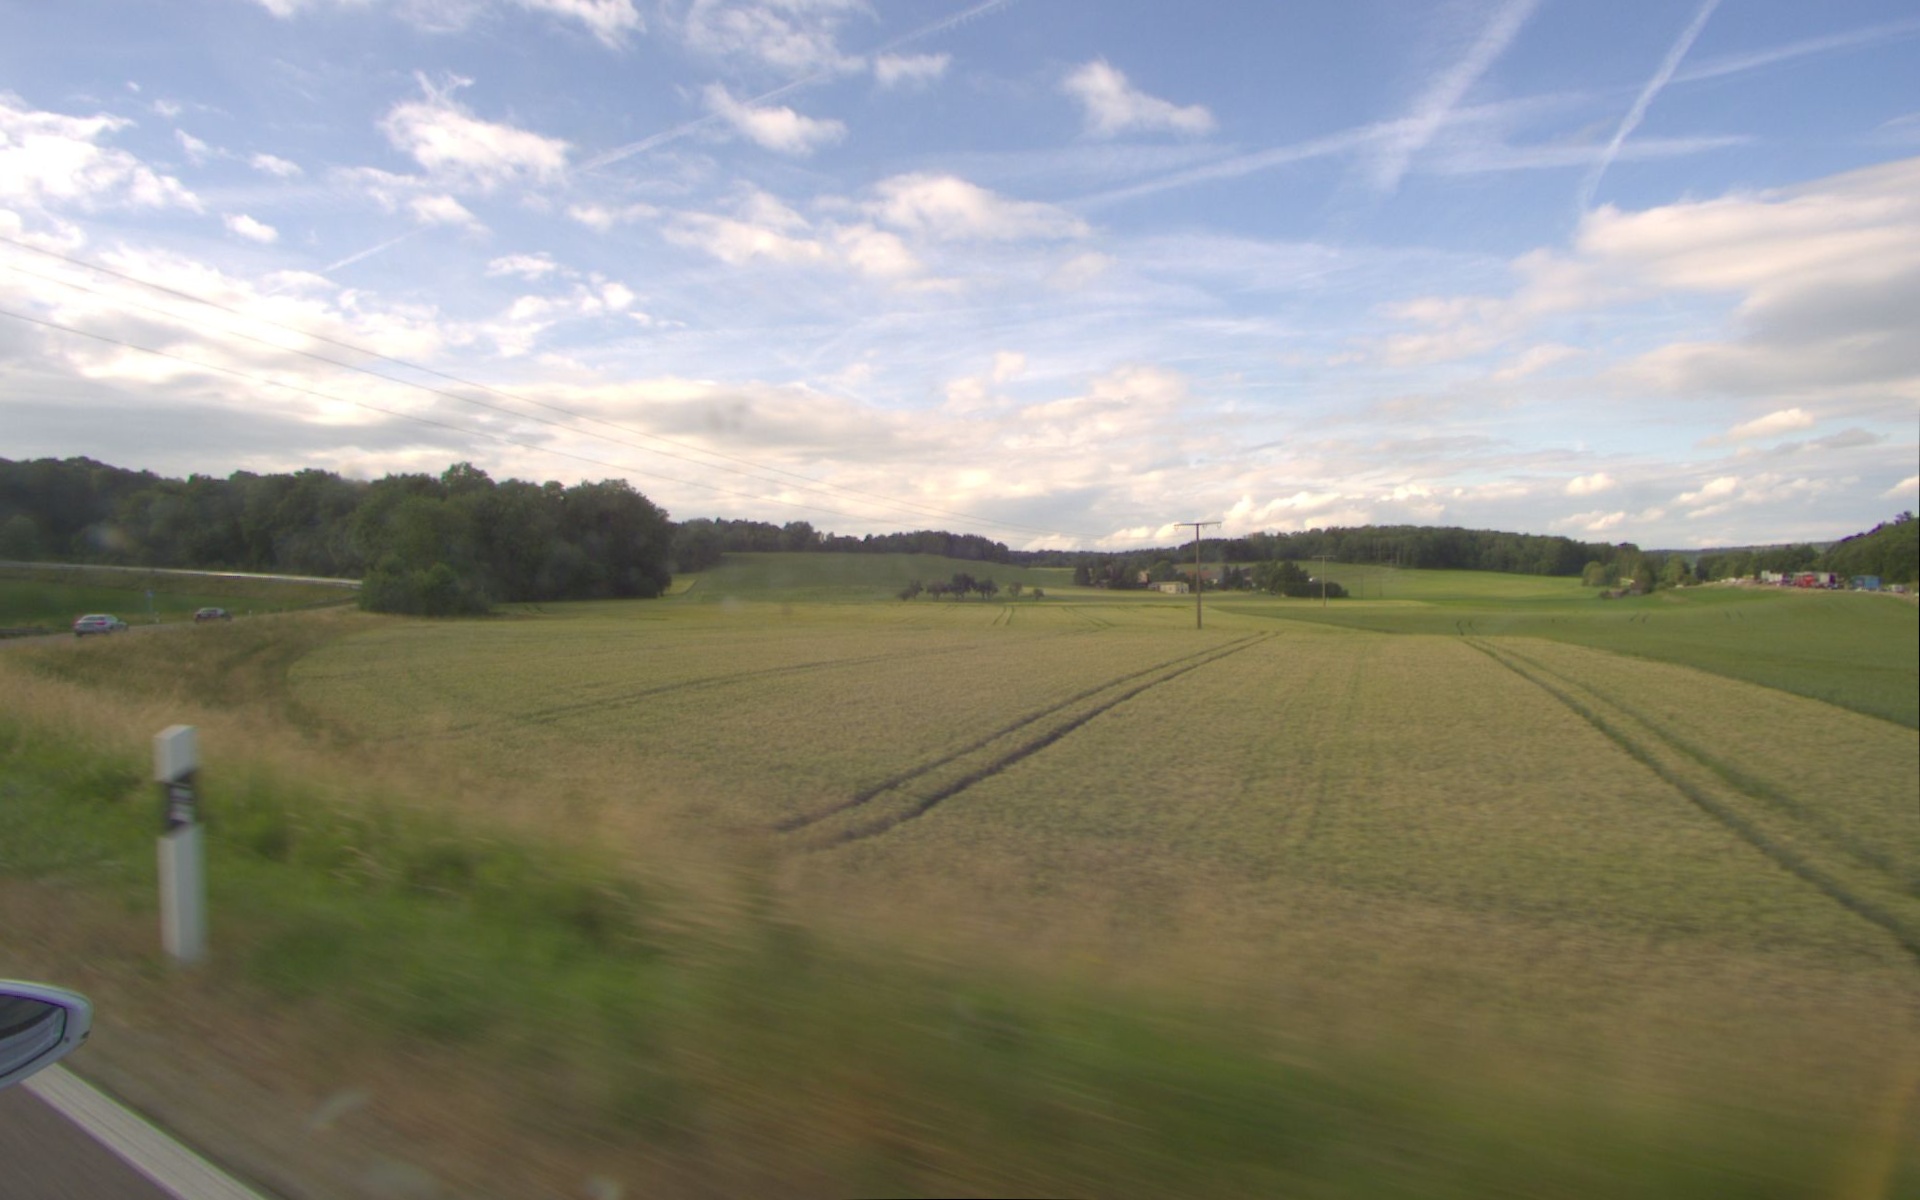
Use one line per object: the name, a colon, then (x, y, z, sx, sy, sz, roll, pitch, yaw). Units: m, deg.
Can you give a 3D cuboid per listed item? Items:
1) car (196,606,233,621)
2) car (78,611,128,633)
car: (-66.846, 1.178, 89.855, 1.449, 1.243, 3.295, -3, 1, -13)
car: (-58.403, 1.502, 68.310, 1.662, 1.394, 3.983, -2, 0, -27)
